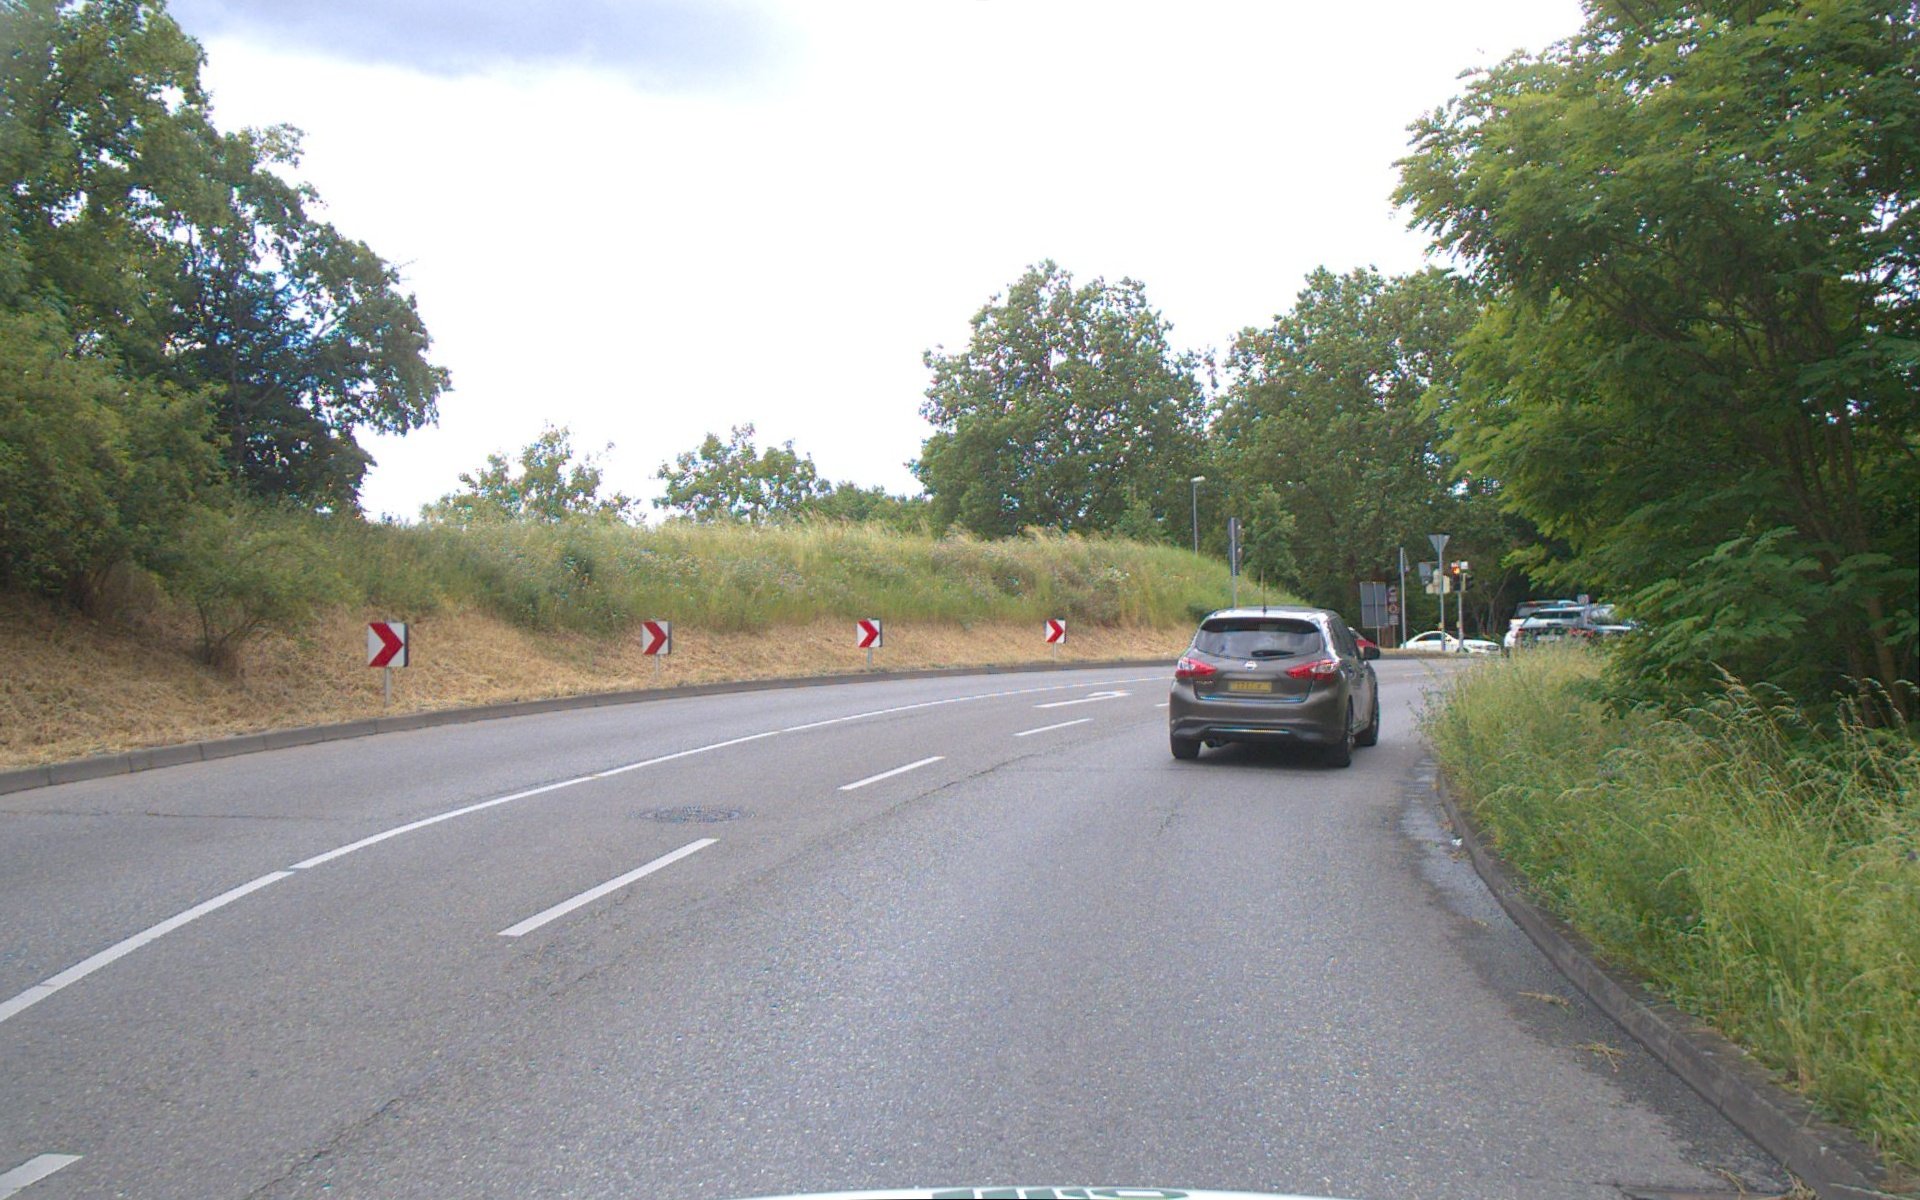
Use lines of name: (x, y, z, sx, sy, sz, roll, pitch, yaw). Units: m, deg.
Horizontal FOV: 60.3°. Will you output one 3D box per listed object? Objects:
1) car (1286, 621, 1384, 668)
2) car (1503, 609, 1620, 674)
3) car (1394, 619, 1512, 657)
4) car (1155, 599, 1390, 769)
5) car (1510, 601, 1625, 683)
car: (16.558, 1.982, 73.159, 1.833, 1.845, 3.990, 0, -4, -34)
car: (15.595, 1.055, 42.860, 2.987, 1.585, 1.558, 1, 0, -39)
car: (20.135, 1.591, 67.636, 1.976, 1.363, 4.365, 2, -5, -34)
car: (3.390, 0.777, 17.360, 1.806, 1.519, 4.001, 1, 0, 20)
car: (12.499, 0.804, 33.885, 1.862, 1.492, 3.997, 1, 1, 25)
